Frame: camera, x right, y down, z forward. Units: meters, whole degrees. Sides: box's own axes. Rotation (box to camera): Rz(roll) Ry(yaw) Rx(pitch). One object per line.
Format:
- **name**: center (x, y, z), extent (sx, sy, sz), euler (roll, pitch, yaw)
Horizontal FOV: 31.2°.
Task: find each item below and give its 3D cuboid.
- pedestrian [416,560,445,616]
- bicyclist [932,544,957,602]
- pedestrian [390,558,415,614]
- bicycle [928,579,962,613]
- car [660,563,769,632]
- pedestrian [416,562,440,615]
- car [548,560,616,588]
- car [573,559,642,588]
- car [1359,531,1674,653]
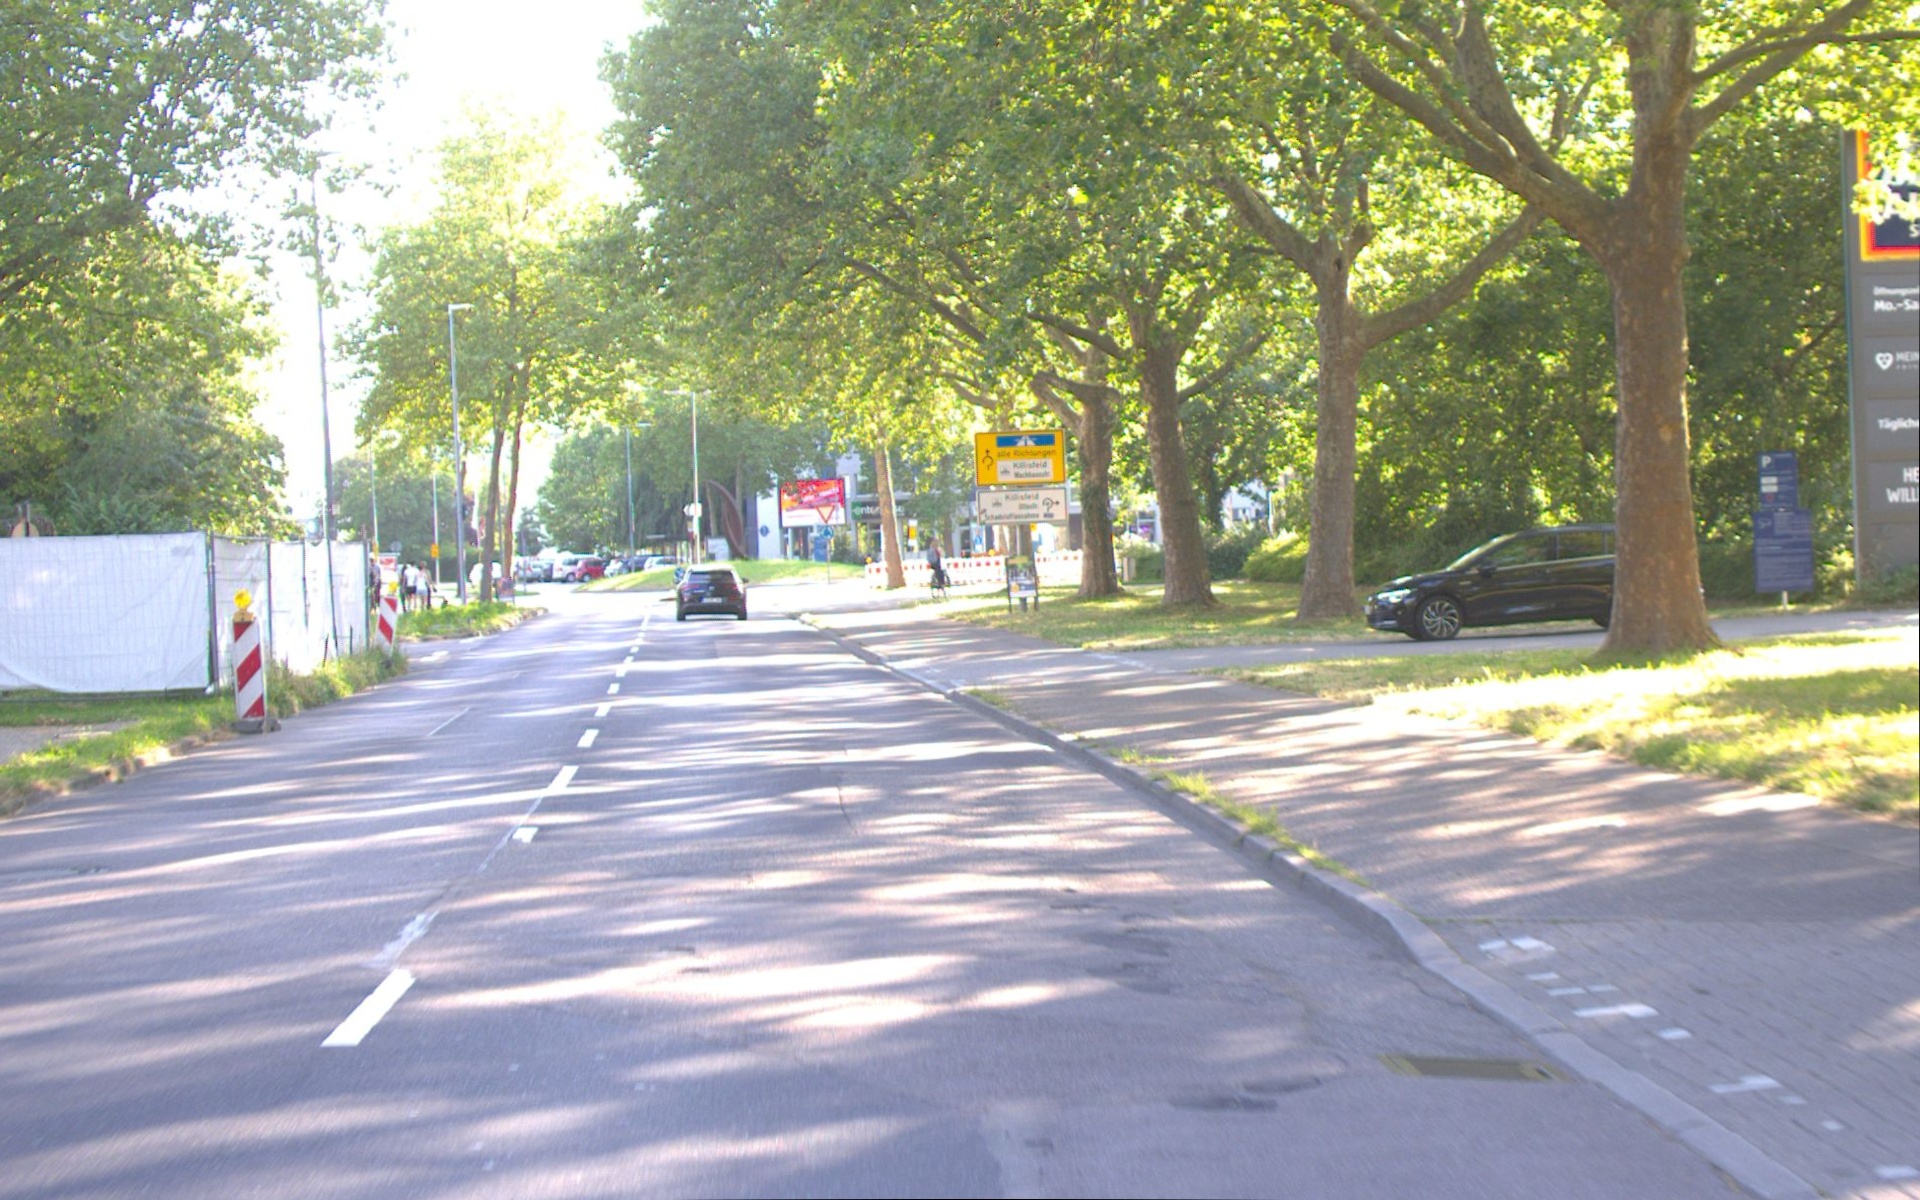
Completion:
- **pedestrian**: center (-16.710, -0.383, 108.465), extent (0.748, 1.733, 0.852), euler (-2, 1, -3)
- **bicyclist**: center (-0.467, -0.811, 102.707), extent (0.651, 1.699, 0.871), euler (-1, 1, -4)
- **pedestrian**: center (-17.538, -0.448, 108.066), extent (0.632, 1.733, 0.664), euler (-2, 1, -3)
- **bicycle**: center (-0.451, -0.126, 102.714), extent (0.770, 0.961, 2.174), euler (-4, 1, -5)
- **car**: center (-6.300, -0.076, 88.631), extent (1.840, 1.600, 3.861), euler (-3, 1, 10)
- **pedestrian**: center (-16.657, -0.360, 107.660), extent (0.632, 1.632, 0.576), euler (-2, 1, -4)
- **car**: center (-24.543, -1.706, 223.358), extent (3.987, 1.741, 1.795), euler (-2, 2, -34)
- **car**: center (-22.602, -1.715, 220.419), extent (3.987, 1.741, 1.795), euler (-2, 2, -34)
- **car**: center (7.654, -0.125, 47.516), extent (3.987, 1.438, 1.761), euler (-3, 1, -1)
